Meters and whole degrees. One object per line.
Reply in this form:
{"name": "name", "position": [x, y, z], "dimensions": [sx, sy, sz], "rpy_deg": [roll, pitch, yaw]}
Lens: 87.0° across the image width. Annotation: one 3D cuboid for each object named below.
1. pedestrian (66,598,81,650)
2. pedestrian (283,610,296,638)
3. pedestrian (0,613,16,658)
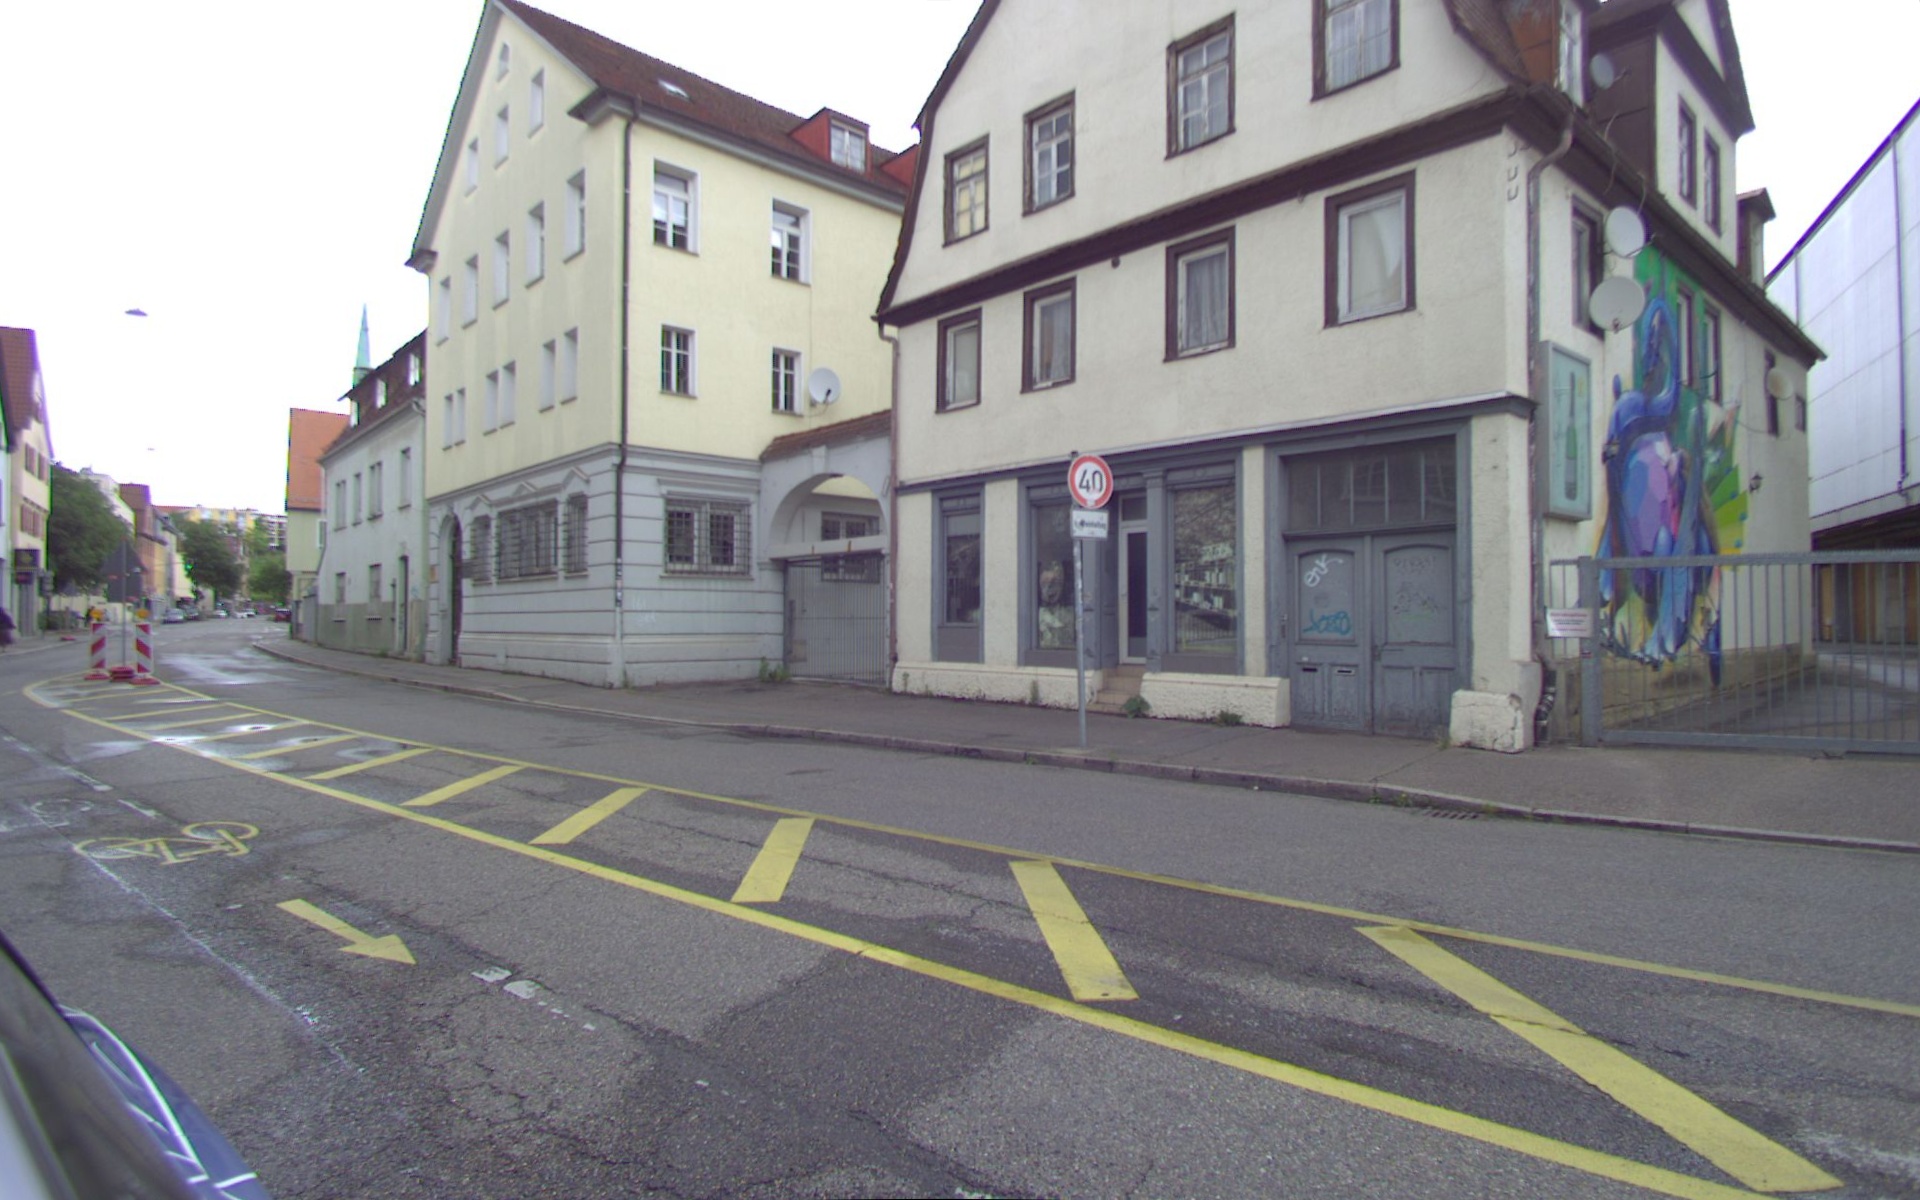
{"name": "pedestrian", "position": [-43.656, 1.193, 49.845], "dimensions": [0.487, 2.547, 0.747], "rpy_deg": [1, -2, -38]}
{"name": "pedestrian", "position": [-42.494, 1.507, 64.147], "dimensions": [0.583, 1.793, 0.506], "rpy_deg": [1, -2, -30]}
{"name": "pedestrian", "position": [-34.372, 1.273, 36.288], "dimensions": [0.714, 1.626, 0.650], "rpy_deg": [0, -2, -38]}
